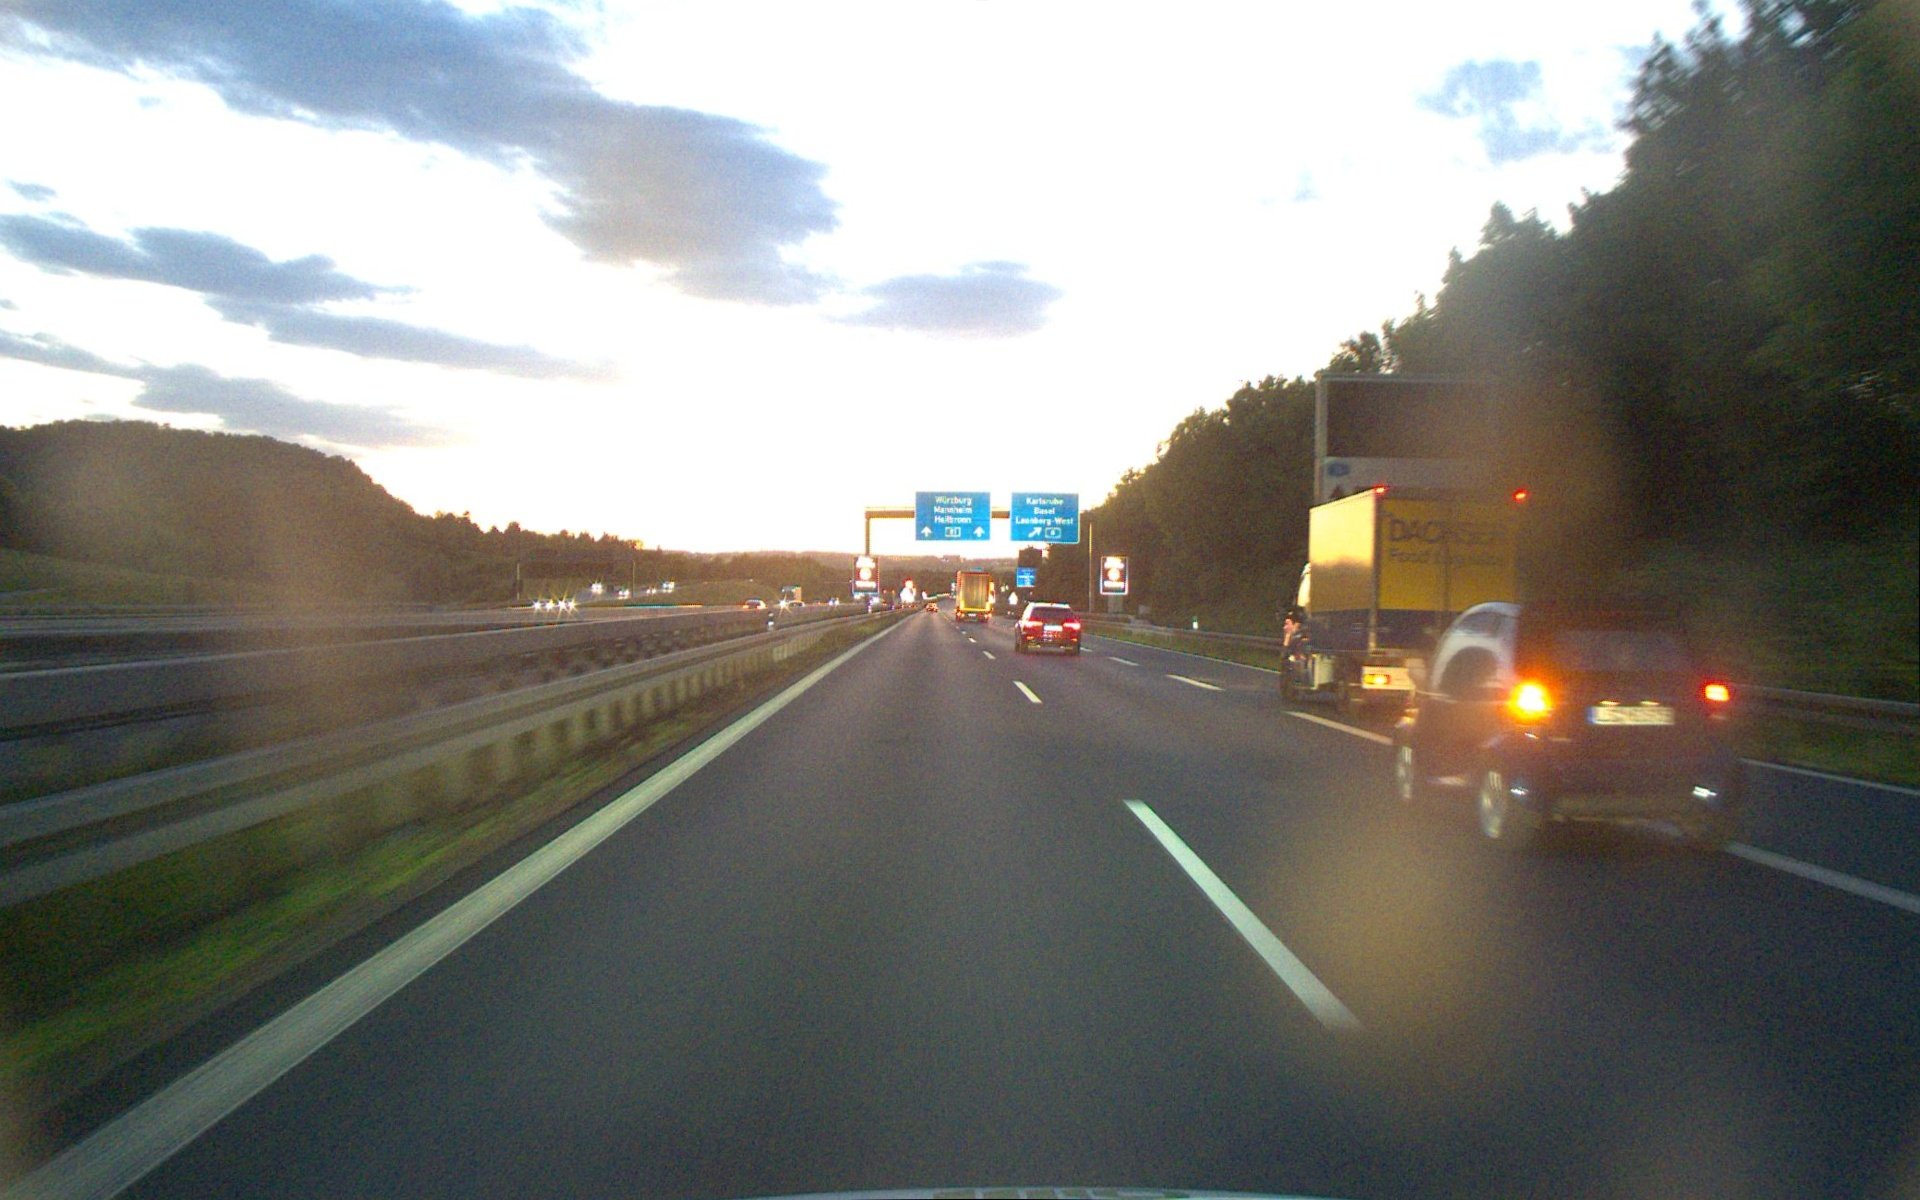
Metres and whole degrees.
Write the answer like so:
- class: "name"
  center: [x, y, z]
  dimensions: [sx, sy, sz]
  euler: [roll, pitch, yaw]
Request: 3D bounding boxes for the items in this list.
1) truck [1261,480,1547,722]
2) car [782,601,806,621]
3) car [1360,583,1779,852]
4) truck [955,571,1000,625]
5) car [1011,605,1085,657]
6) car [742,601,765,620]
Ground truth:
- class: "truck"
  center: [6.327, 0.017, 24.632]
  dimensions: [2.223, 3.023, 6.629]
  euler: [2, 0, -1]
- class: "car"
  center: [-14.078, 0.933, 140.478]
  dimensions: [1.678, 1.634, 3.721]
  euler: [0, -1, -1]
- class: "car"
  center: [4.005, 0.709, 11.427]
  dimensions: [1.578, 1.583, 3.317]
  euler: [0, -1, -2]
- class: "truck"
  center: [1.416, -0.127, 138.274]
  dimensions: [3.439, 4.377, 9.888]
  euler: [0, -1, -1]
- class: "car"
  center: [2.546, 0.891, 48.711]
  dimensions: [1.876, 1.467, 3.999]
  euler: [0, -1, -1]
- class: "car"
  center: [-17.873, 0.910, 143.077]
  dimensions: [1.604, 1.573, 3.394]
  euler: [0, -1, -1]
